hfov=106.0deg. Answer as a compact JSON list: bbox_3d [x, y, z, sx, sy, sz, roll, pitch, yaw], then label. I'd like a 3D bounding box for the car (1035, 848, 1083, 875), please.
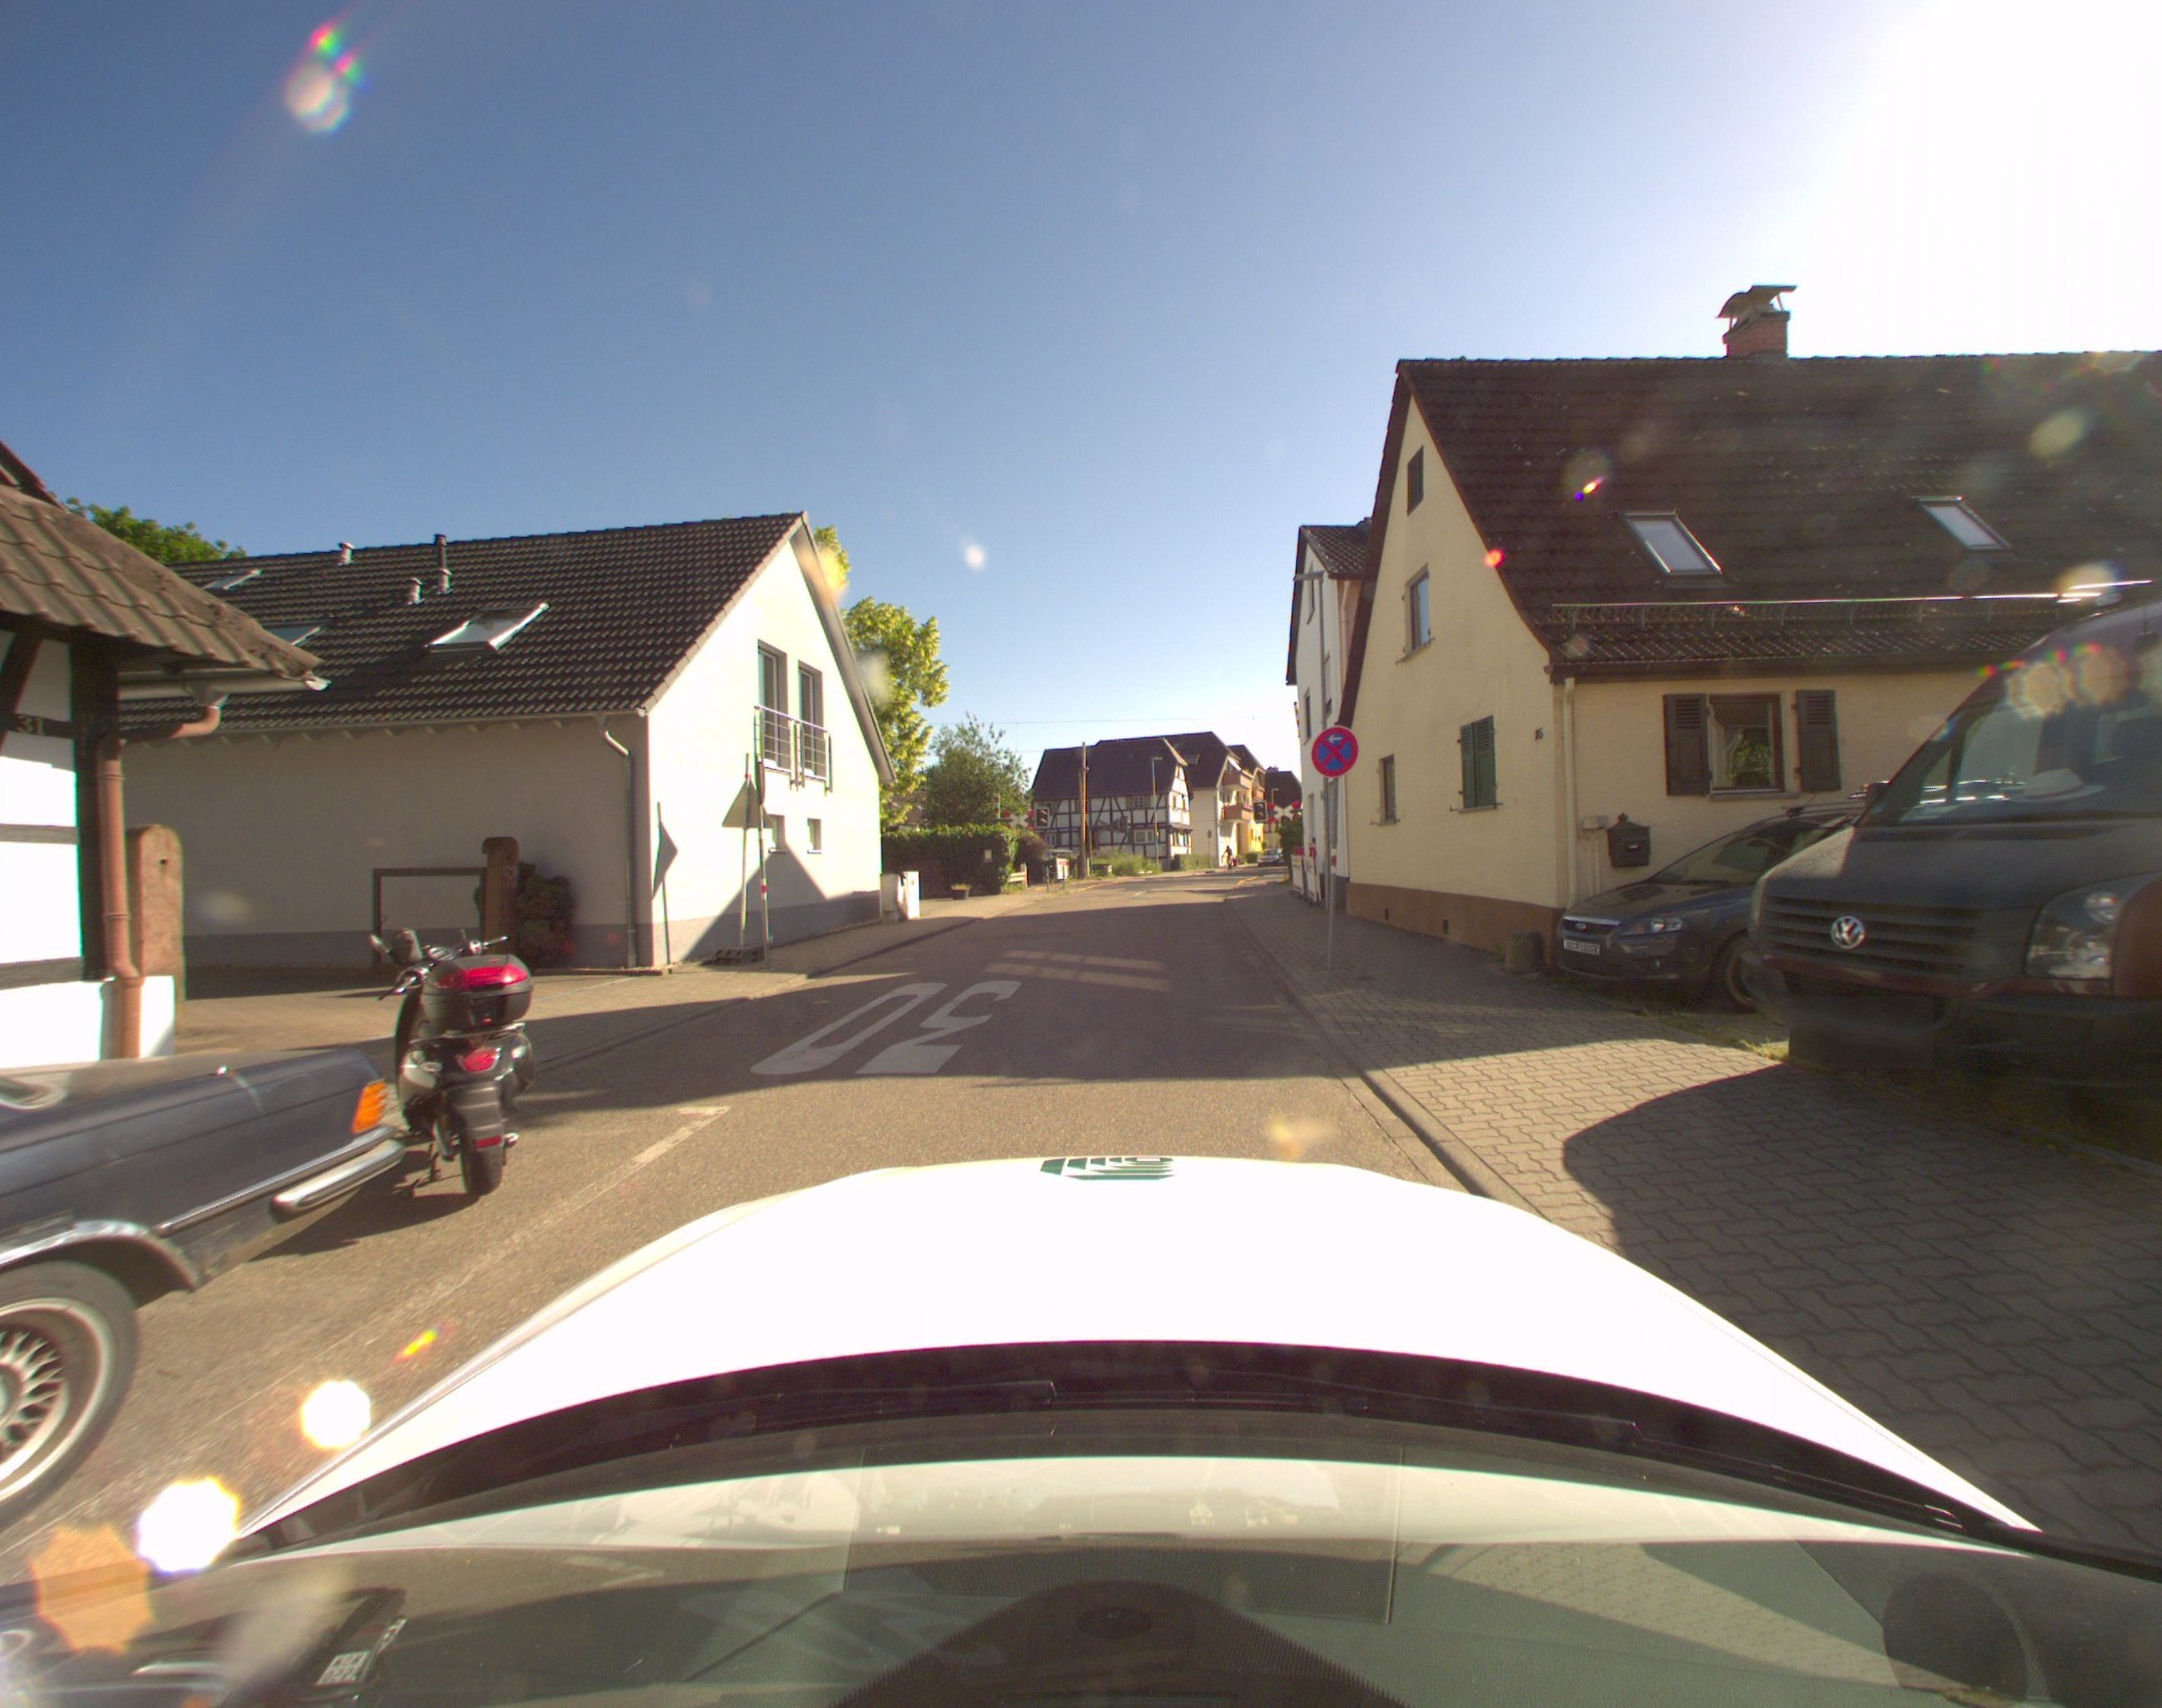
[{"bbox_3d":[-1.397,0.449,49.462,1.690,1.564,3.971,0,0,-22],"label":"car"}]

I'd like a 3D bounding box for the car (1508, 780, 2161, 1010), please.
[{"bbox_3d":[6.450,0.300,7.173,4.360,1.487,1.839,-4,0,0],"label":"car"}]

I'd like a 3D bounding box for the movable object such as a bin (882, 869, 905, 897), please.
[{"bbox_3d":[-6.368,0.984,27.634,0.586,0.934,0.509,-2,-1,11],"label":"movable object such as a bin"}]

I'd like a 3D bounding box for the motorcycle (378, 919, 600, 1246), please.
[{"bbox_3d":[-3.215,1.031,4.335,0.630,1.231,1.970,-4,1,-44],"label":"motorcycle"}]

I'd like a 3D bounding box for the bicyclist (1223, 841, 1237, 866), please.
[{"bbox_3d":[9.533,-0.035,52.135,0.843,1.541,0.875,-1,0,8],"label":"bicyclist"}]

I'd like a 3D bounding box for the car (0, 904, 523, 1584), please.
[{"bbox_3d":[-3.396,0.985,0.931,1.837,1.406,5.039,-3,0,2],"label":"car"}]

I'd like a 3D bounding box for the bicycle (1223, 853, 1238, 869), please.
[{"bbox_3d":[9.546,0.441,52.096,0.878,1.005,2.067,-1,0,8],"label":"bicycle"}]

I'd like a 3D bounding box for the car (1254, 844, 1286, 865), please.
[{"bbox_3d":[15.509,0.002,66.636,1.615,1.506,3.876,-5,-1,27],"label":"car"}]

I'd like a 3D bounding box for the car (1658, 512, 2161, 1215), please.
[{"bbox_3d":[6.592,-0.146,4.218,5.789,2.655,1.966,-4,0,-3],"label":"car"}]

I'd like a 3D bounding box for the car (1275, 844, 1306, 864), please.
[{"bbox_3d":[18.323,0.001,71.198,1.658,1.506,4.120,-3,0,28],"label":"car"}]
